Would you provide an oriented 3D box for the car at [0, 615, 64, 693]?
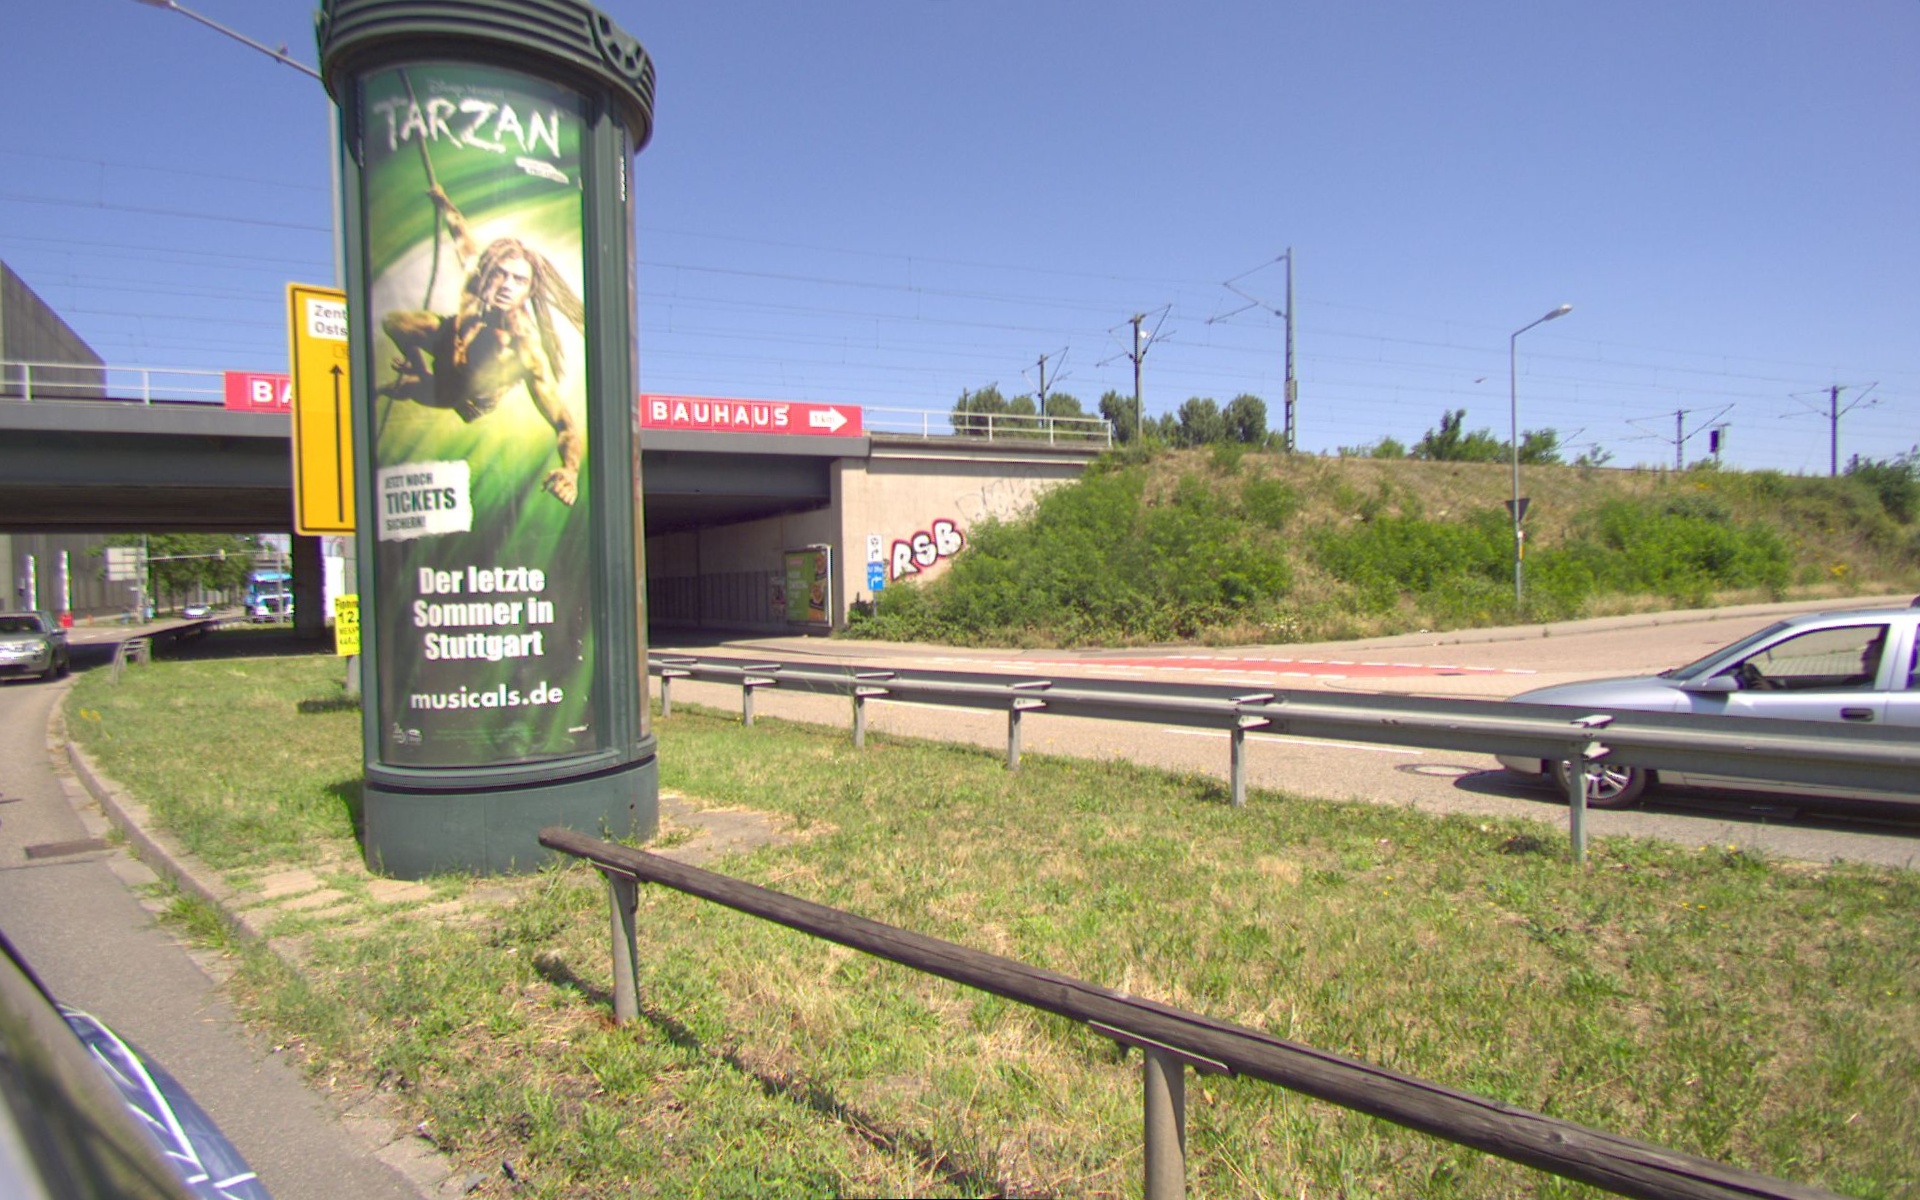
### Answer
[{"bbox_3d":[-22.511,1.241,23.921,1.818,1.708,3.706,-1,0,-39],"label":"car"}]

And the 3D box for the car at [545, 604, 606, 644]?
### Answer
[{"bbox_3d":[-17.095,1.046,44.918,1.747,1.680,4.026,-1,0,-33],"label":"car"}]

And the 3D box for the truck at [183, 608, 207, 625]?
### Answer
[{"bbox_3d":[-70.562,1.550,93.317,1.704,1.513,4.008,-1,0,-38],"label":"truck"}]

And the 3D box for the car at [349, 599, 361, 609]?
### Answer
[{"bbox_3d":[-125.417,0.849,209.846,1.966,2.029,4.011,-1,0,-32],"label":"car"}]

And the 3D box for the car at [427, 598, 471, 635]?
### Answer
[{"bbox_3d":[-27.382,0.860,54.160,1.876,1.874,4.012,-1,0,-30],"label":"car"}]

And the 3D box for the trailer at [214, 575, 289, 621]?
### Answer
[{"bbox_3d":[-56.686,-0.065,80.719,2.921,3.398,13.907,-1,0,-43],"label":"trailer"}]

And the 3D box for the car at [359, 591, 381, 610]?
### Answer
[{"bbox_3d":[-64.021,0.091,109.782,1.966,2.029,4.012,-1,0,-29],"label":"car"}]

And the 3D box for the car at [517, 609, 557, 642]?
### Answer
[{"bbox_3d":[-20.773,1.232,49.644,1.548,1.514,3.418,-1,0,-26],"label":"car"}]

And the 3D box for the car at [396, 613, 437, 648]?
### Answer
[{"bbox_3d":[-22.181,1.207,41.347,1.389,1.329,3.271,-1,0,-27],"label":"car"}]

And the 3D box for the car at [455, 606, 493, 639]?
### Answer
[{"bbox_3d":[-23.320,1.074,48.520,1.593,1.487,3.444,-1,0,-26],"label":"car"}]

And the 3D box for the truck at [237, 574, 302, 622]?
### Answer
[{"bbox_3d":[-51.928,-0.093,75.996,2.978,3.443,6.571,-1,0,-44],"label":"truck"}]

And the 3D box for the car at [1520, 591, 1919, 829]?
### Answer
[{"bbox_3d":[6.219,0.661,6.613,4.221,1.413,1.616,-1,-2,43],"label":"car"}]

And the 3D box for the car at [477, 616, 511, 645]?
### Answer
[{"bbox_3d":[-20.221,1.300,43.911,1.250,1.194,2.787,-1,0,-26],"label":"car"}]

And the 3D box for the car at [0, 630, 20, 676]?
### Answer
[{"bbox_3d":[-33.570,1.817,34.583,1.690,1.453,4.009,-1,0,-37],"label":"car"}]
